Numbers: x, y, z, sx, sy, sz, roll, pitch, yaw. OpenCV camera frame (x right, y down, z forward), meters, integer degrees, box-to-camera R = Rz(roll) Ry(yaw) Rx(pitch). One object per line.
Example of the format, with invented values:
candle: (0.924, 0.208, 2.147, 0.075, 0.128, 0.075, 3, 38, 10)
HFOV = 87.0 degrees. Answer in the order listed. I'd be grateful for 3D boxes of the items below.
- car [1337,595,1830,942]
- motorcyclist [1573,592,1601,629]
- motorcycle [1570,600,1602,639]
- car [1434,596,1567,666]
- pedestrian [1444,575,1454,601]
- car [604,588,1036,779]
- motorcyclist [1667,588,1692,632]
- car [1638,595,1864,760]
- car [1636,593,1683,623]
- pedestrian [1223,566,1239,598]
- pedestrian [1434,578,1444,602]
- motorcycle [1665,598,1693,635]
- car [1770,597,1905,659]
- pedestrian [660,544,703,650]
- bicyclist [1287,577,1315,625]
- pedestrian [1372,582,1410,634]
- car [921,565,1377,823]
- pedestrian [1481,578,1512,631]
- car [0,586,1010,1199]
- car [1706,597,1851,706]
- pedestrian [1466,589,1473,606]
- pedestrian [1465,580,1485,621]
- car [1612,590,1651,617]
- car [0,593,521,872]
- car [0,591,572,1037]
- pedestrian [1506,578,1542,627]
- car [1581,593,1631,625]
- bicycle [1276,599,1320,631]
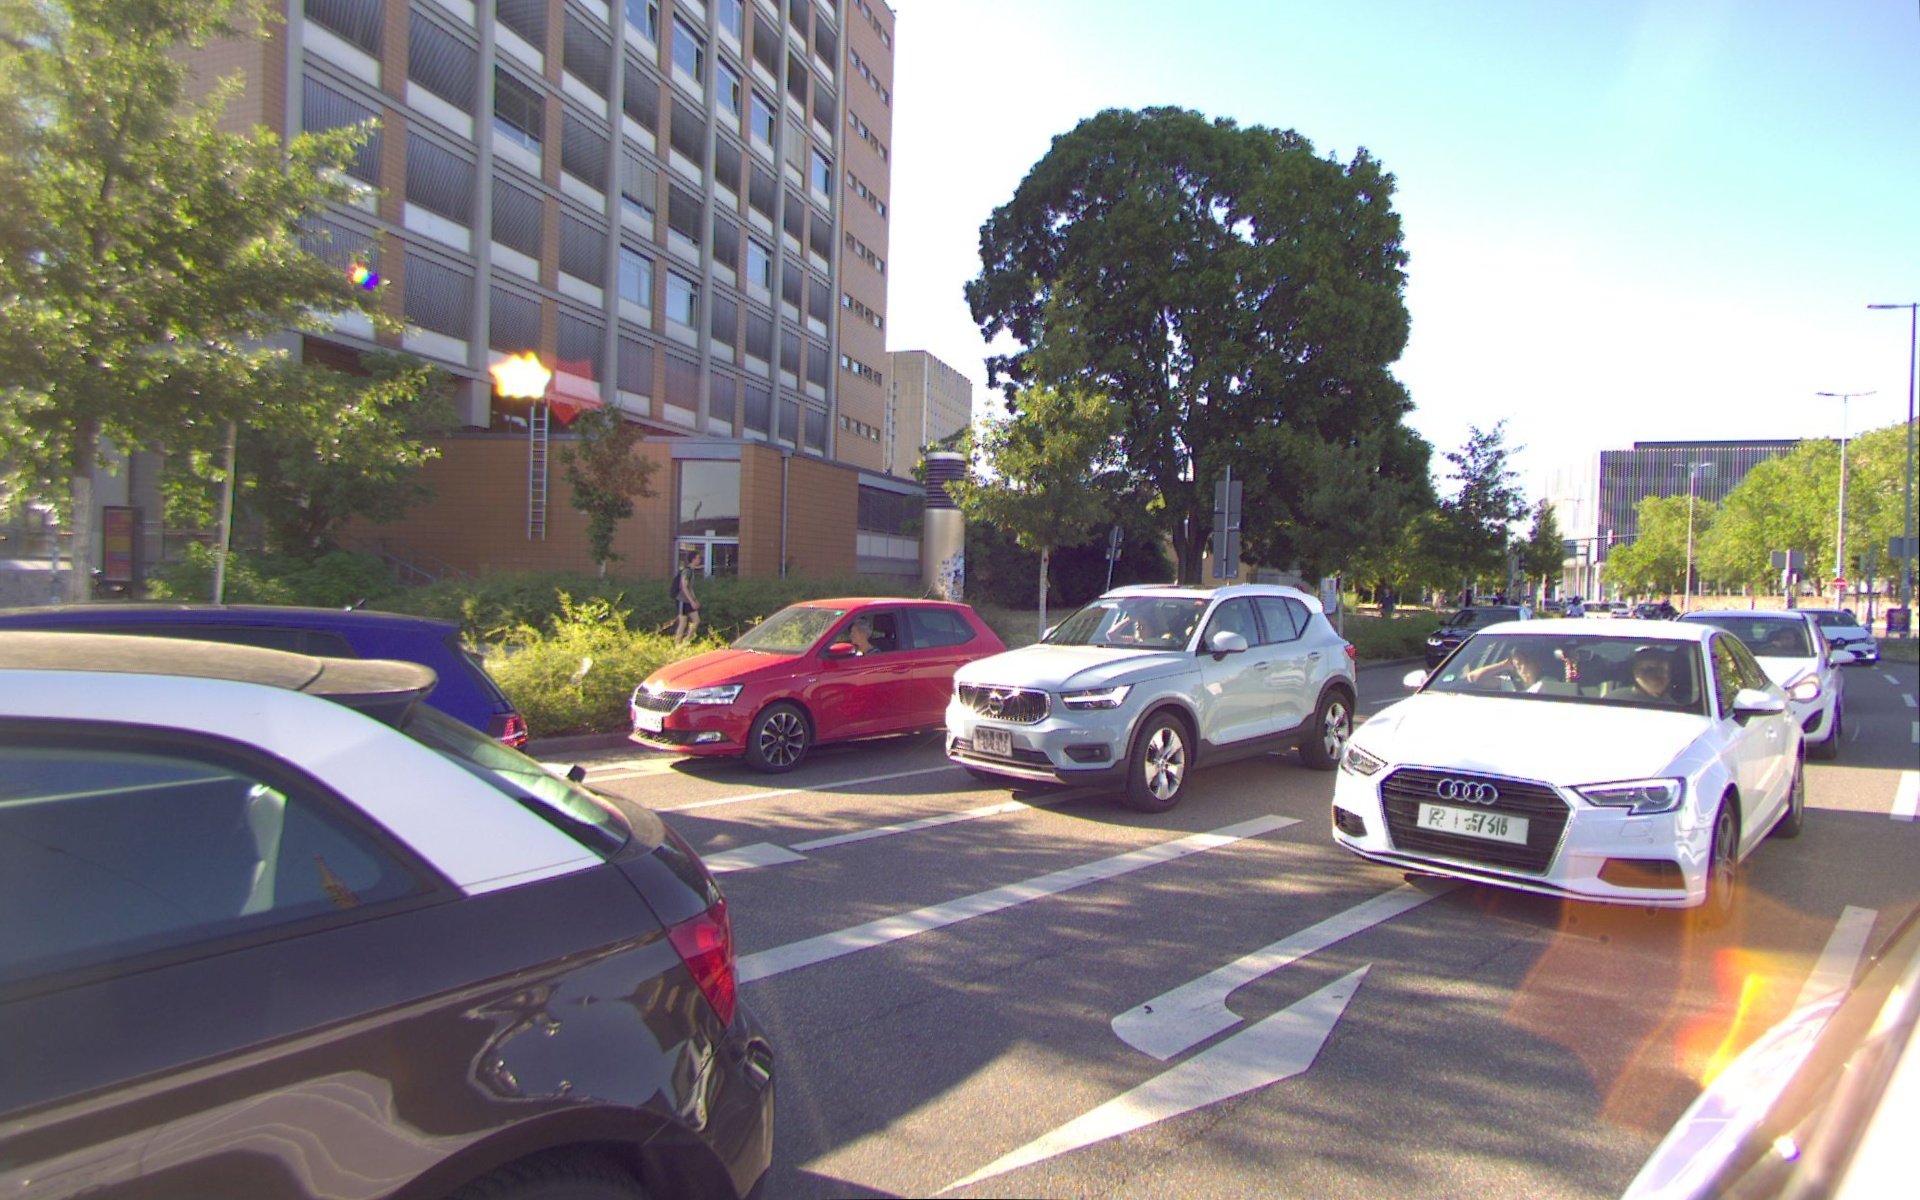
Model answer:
car: (3.939, 0.693, 6.117, 3.769, 1.422, 1.625, -1, 0, -43)
motorcyclist: (22.367, 0.364, 36.117, 0.716, 1.321, 0.723, 0, 0, 45)
motorcycle: (22.359, 0.660, 36.114, 0.714, 1.321, 2.203, 0, 0, 39)
car: (12.694, 0.652, 23.661, 1.750, 1.478, 4.123, 0, 1, 43)
pedestrian: (31.032, -0.762, 64.178, 0.543, 1.627, 0.598, 0, 0, 30)
car: (-1.198, 0.632, 9.843, 3.974, 1.478, 1.625, -1, 0, -43)
motorcyclist: (26.611, 0.363, 37.447, 0.708, 1.610, 0.680, 0, 0, 39)
car: (8.867, 0.692, 11.223, 1.623, 1.478, 3.979, 0, 1, 43)
car: (39.147, 0.419, 56.725, 1.731, 1.564, 3.960, 2, 1, 29)
pedestrian: (17.361, -1.165, 64.886, 0.917, 2.039, 0.750, 0, 0, 22)
pedestrian: (30.496, -0.632, 64.447, 0.543, 1.549, 0.598, 0, 0, 30)
motorcycle: (26.760, 0.582, 37.664, 0.714, 1.321, 2.203, 0, 0, 39)
car: (23.164, 0.664, 26.889, 1.740, 1.478, 4.150, 0, 0, 27)
pedestrian: (-5.088, -0.059, 18.493, 0.681, 1.910, 0.465, 0, 0, -24)
bicyclist: (11.338, 0.018, 33.674, 0.615, 1.580, 0.858, 0, 0, 41)
pedestrian: (14.758, 0.271, 34.625, 1.005, 1.742, 0.873, 0, 0, 39)
car: (1.767, 0.572, 8.457, 4.153, 1.641, 1.625, -1, 0, -43)
pedestrian: (20.778, 0.158, 39.199, 0.891, 2.039, 0.870, 0, 0, 39)
car: (-1.907, 0.700, 1.403, 3.930, 1.422, 1.626, -1, 0, -41)
car: (13.105, 0.714, 16.118, 1.622, 1.478, 3.981, 0, 0, 42)
pedestrian: (52.852, -0.246, 104.981, 0.475, 1.706, 0.399, 1, 1, -41)
pedestrian: (20.493, 0.001, 40.240, 0.593, 1.615, 0.586, 0, 0, 41)
car: (46.023, 0.239, 69.469, 1.730, 1.727, 3.962, 2, 1, 27)
car: (-5.226, 0.684, 6.116, 4.433, 1.422, 1.726, -1, 0, -41)
car: (-3.708, 0.687, 3.771, 3.930, 1.422, 1.626, -1, 0, -41)
pedestrian: (23.970, 0.105, 43.006, 1.137, 2.039, 1.268, 0, 0, 39)
car: (33.345, 0.416, 52.178, 1.738, 1.544, 3.943, 2, 2, 39)
bicycle: (11.250, 0.470, 33.602, 0.657, 0.975, 2.005, 2, 2, 41)
